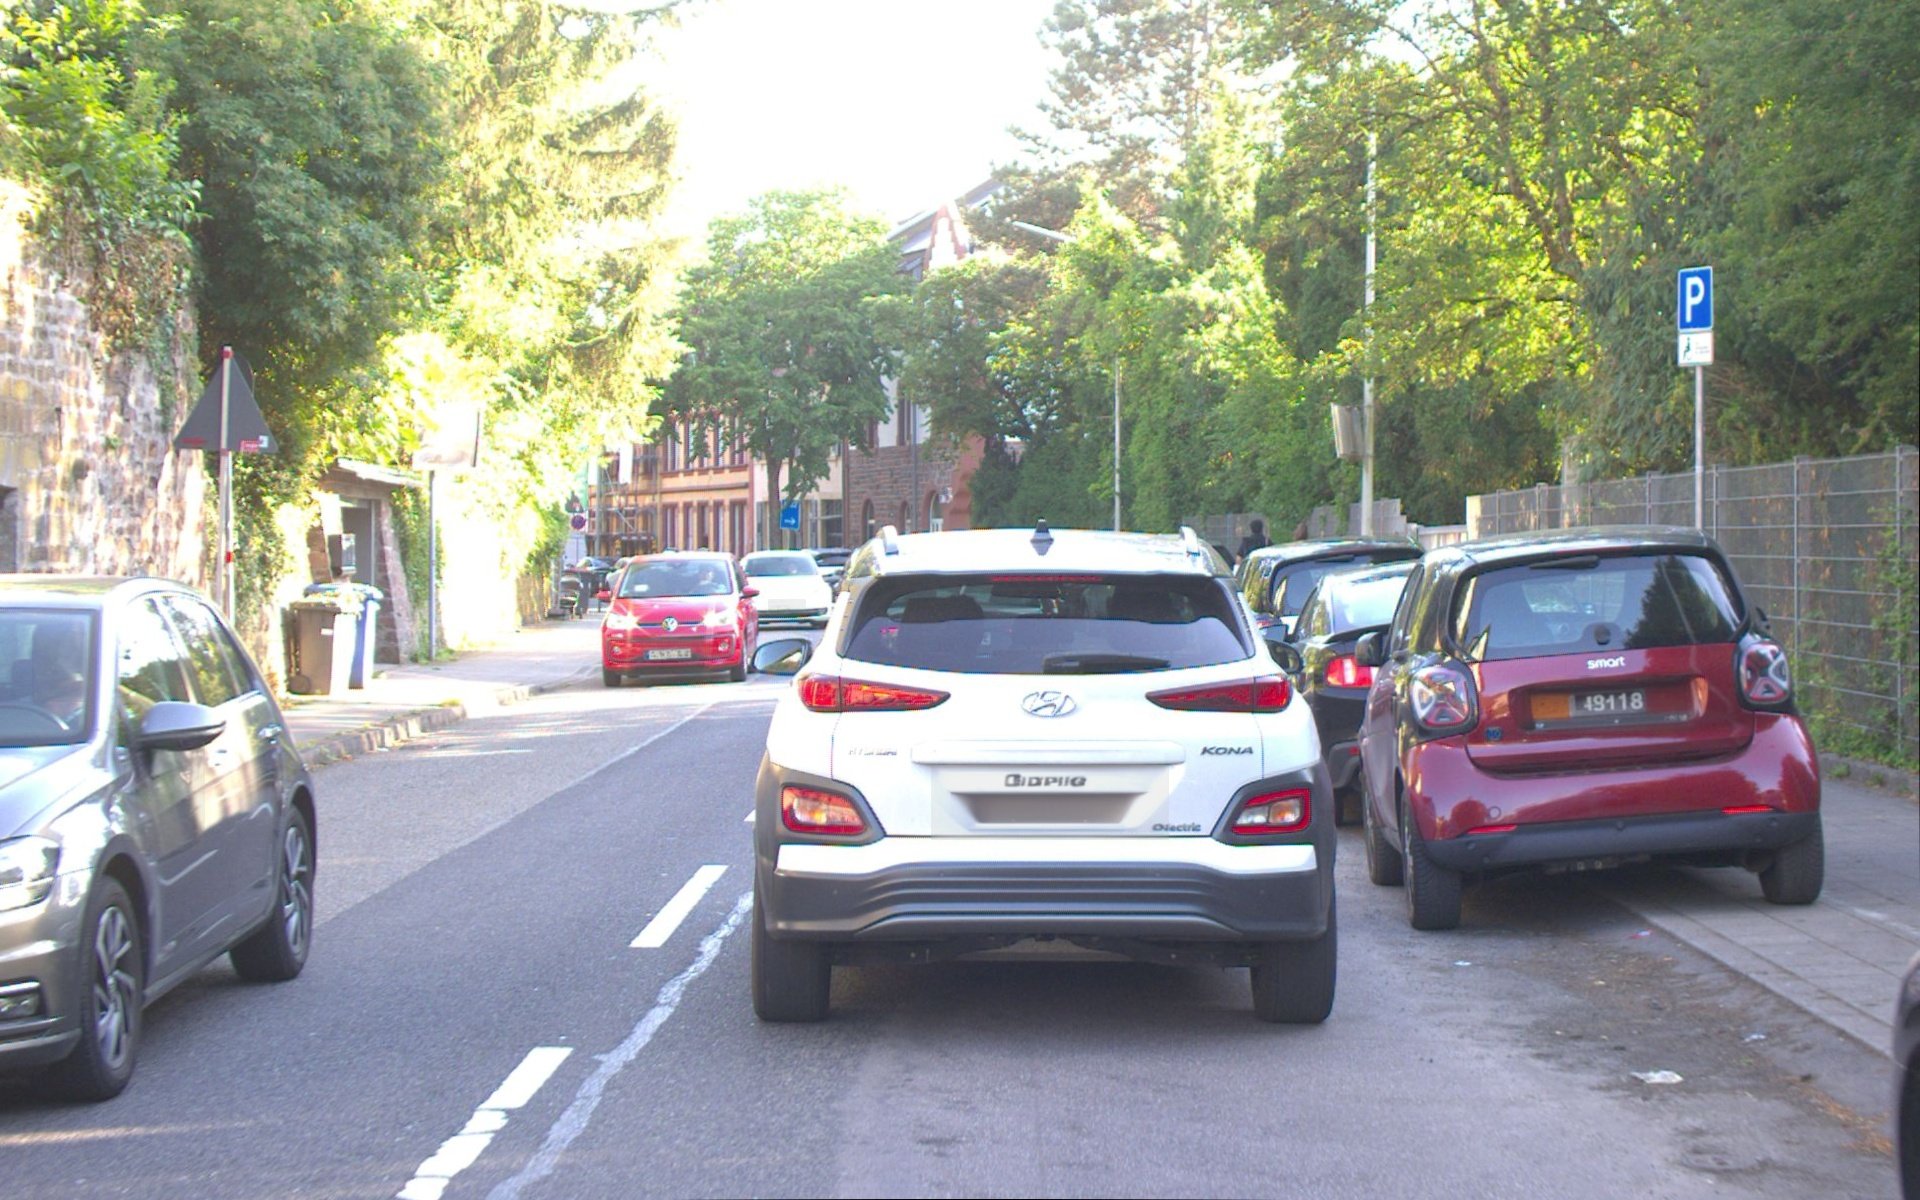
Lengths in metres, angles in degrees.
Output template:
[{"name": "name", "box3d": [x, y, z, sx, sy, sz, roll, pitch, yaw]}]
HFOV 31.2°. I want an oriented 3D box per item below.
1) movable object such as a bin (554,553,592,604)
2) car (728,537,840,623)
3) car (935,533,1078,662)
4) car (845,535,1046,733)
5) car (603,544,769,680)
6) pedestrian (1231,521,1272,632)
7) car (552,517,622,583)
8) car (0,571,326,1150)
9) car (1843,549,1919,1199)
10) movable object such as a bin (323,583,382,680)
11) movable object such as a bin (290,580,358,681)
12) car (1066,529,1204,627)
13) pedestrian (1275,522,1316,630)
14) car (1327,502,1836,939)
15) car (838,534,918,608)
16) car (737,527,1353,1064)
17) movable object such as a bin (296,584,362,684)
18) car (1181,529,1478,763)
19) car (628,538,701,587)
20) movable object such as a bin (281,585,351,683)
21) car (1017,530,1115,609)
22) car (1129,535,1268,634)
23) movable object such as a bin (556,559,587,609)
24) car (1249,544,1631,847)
[{"name": "movable object such as a bin", "box3d": [-9.144, -0.509, 81.318, 0.792, 1.185, 0.773, 1, 0, -1]}, {"name": "car", "box3d": [-3.279, -0.394, 64.692, 1.741, 1.469, 4.000, -3, 1, 1]}, {"name": "car", "box3d": [0.600, -0.063, 41.730, 1.570, 1.472, 3.547, 1, 1, 3]}, {"name": "car", "box3d": [-0.069, 0.231, 28.595, 1.512, 1.528, 3.548, 0, 1, 2]}, {"name": "car", "box3d": [-3.135, 0.107, 39.881, 1.550, 1.461, 3.568, -2, 1, 1]}, {"name": "pedestrian", "box3d": [4.292, -0.351, 50.608, 0.503, 1.601, 0.491, -2, 1, 1]}, {"name": "car", "box3d": [-15.008, -2.013, 138.170, 1.928, 2.574, 4.395, -1, 1, -18]}, {"name": "car", "box3d": [-3.121, 0.639, 10.497, 1.649, 1.406, 3.931, -1, 1, 0]}, {"name": "car", "box3d": [2.577, 0.656, 4.552, 1.794, 1.436, 4.000, 0, 1, 0]}, {"name": "movable object such as a bin", "box3d": [-6.187, 0.315, 35.008, 0.490, 0.961, 0.583, 1, 1, -2]}, {"name": "movable object such as a bin", "box3d": [-6.274, 0.299, 33.926, 0.573, 0.981, 0.438, 1, 0, -2]}, {"name": "car", "box3d": [2.958, -0.385, 58.777, 1.593, 1.560, 4.001, -2, 1, -8]}, {"name": "pedestrian", "box3d": [4.933, -0.353, 50.607, 0.503, 1.564, 0.503, -2, 1, 1]}, {"name": "car", "box3d": [2.539, 0.450, 14.651, 1.653, 1.559, 2.872, -4, 0, 3]}, {"name": "car", "box3d": [-1.802, -0.644, 74.623, 1.589, 1.577, 3.361, 0, 1, -4]}, {"name": "car", "box3d": [0.285, 0.539, 11.997, 1.772, 1.537, 4.000, 1, 1, 1]}, {"name": "movable object such as a bin", "box3d": [-6.315, 0.336, 34.415, 0.573, 0.981, 0.438, 1, 0, -2]}, {"name": "car", "box3d": [2.599, 0.281, 24.723, 1.624, 1.504, 2.904, -2, 2, -3]}, {"name": "car", "box3d": [-10.426, -1.320, 120.997, 1.755, 1.611, 4.002, 1, 1, -17]}, {"name": "movable object such as a bin", "box3d": [-6.268, 0.330, 33.467, 0.583, 0.934, 0.438, 1, 0, -2]}, {"name": "car", "box3d": [2.129, -0.638, 69.767, 1.593, 1.484, 3.603, -2, 1, -4]}, {"name": "car", "box3d": [3.647, -0.267, 53.161, 1.686, 1.426, 4.001, -2, 1, -2]}, {"name": "movable object such as a bin", "box3d": [-8.050, -0.339, 71.261, 0.495, 1.008, 1.113, 1, 0, 0]}, {"name": "car", "box3d": [2.661, 0.451, 20.040, 1.710, 1.492, 4.814, 2, 1, 3]}]
